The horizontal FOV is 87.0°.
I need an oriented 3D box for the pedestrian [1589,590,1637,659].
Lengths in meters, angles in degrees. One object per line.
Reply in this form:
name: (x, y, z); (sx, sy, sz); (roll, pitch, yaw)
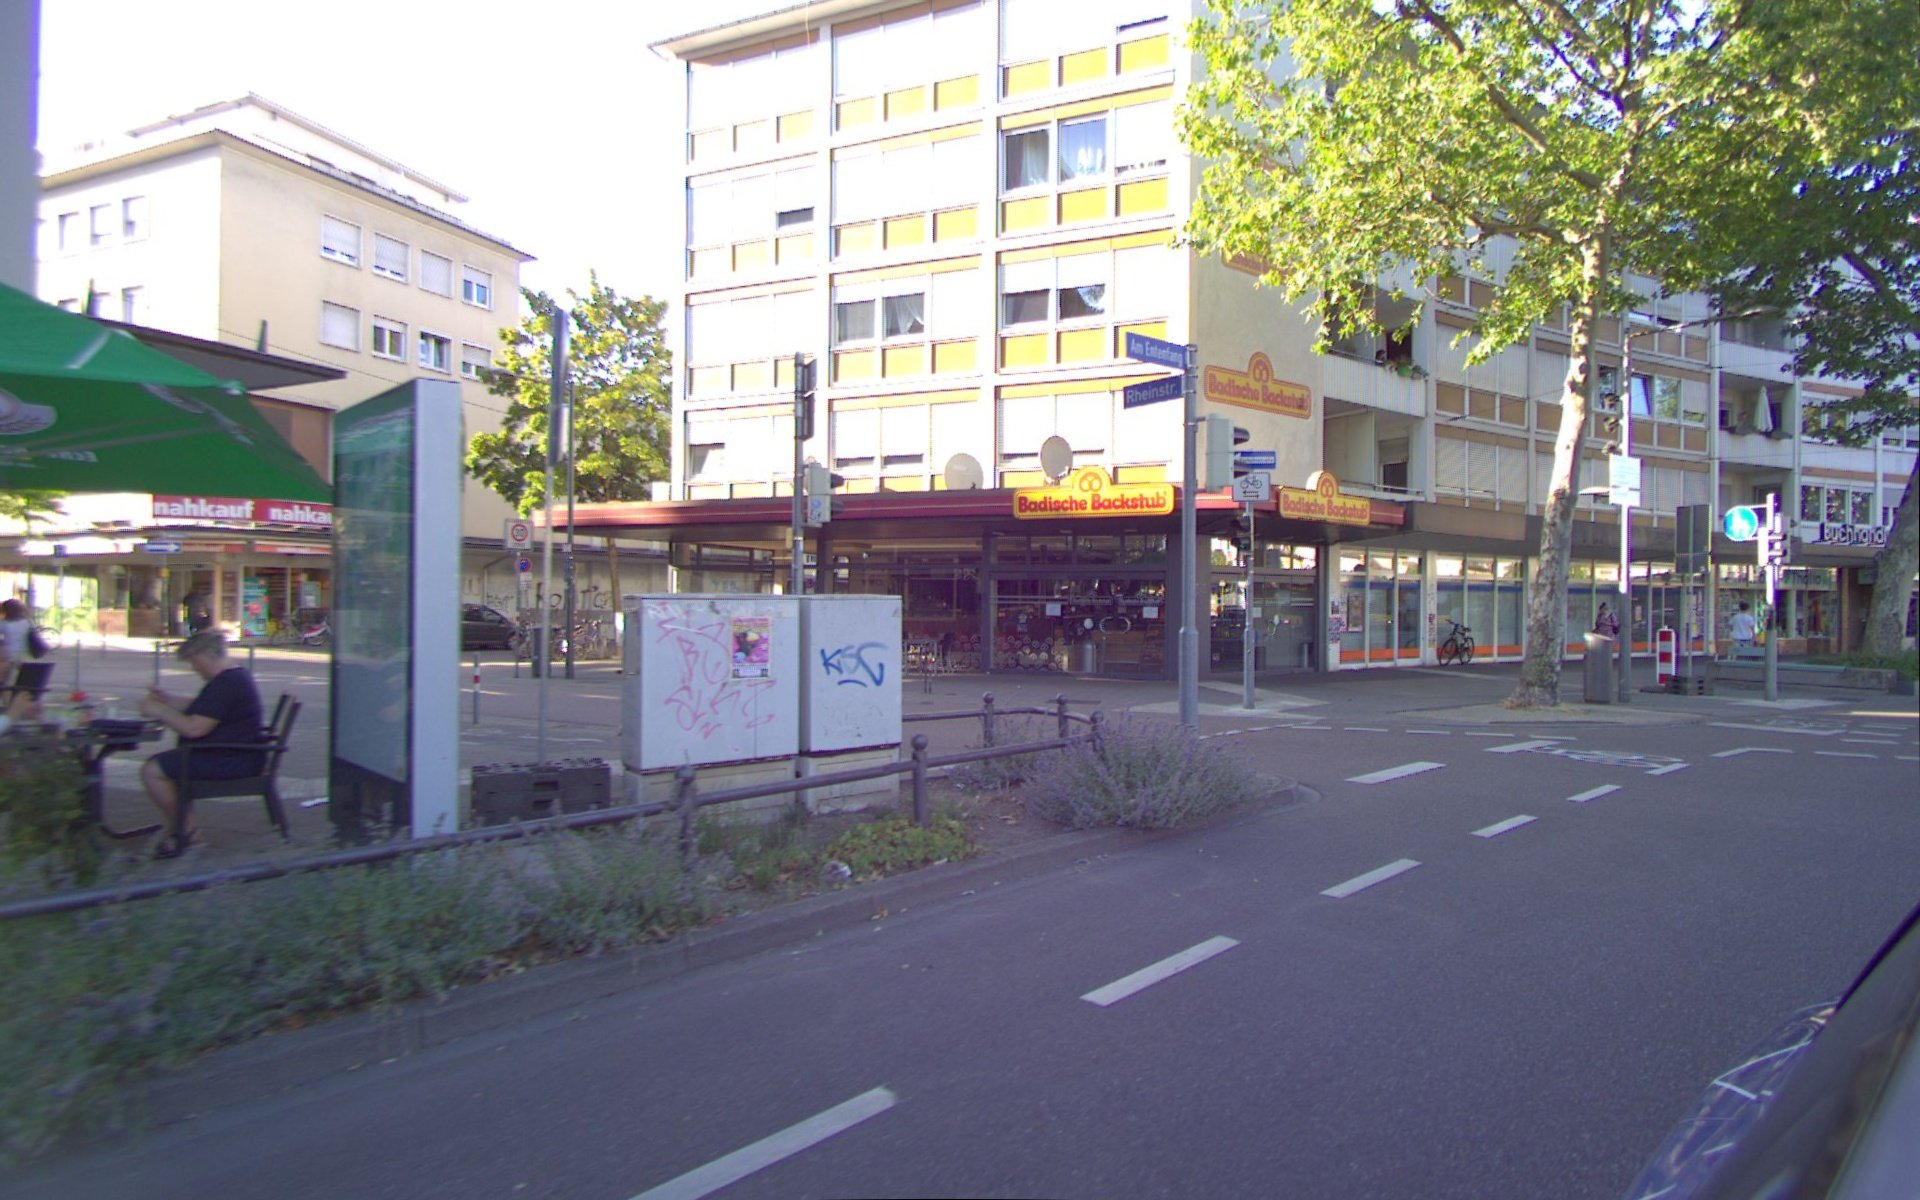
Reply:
pedestrian: (17.164, 0.626, 26.595); (0.884, 1.779, 0.751); (1, -1, -31)

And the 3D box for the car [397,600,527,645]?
car: (-17.623, 0.777, 35.991); (1.720, 1.505, 3.964); (0, 0, 26)

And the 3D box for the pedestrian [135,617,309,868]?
pedestrian: (-4.219, 0.754, 5.827); (0.754, 1.302, 0.719); (1, -1, -35)

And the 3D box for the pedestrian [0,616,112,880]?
pedestrian: (-5.015, 0.741, 5.323); (0.753, 1.302, 0.720); (1, -1, -34)

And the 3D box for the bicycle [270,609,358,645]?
bicycle: (-21.612, 0.881, 33.920); (0.708, 1.131, 2.522); (1, 0, 22)

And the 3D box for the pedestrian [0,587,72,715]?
pedestrian: (-12.588, 0.656, 13.564); (0.898, 1.642, 0.690); (0, -1, 21)

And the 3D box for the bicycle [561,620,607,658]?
bicycle: (-10.480, 1.069, 28.214); (0.383, 1.013, 1.420); (0, 0, 19)

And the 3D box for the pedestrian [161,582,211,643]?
pedestrian: (-24.337, 0.384, 31.829); (0.941, 1.904, 0.898); (0, -1, 26)

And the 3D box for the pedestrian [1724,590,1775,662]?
pedestrian: (20.035, 0.648, 25.681); (0.884, 1.779, 0.751); (1, -1, -31)

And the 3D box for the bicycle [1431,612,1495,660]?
bicycle: (12.465, 0.872, 25.066); (1.936, 1.157, 0.529); (1, -1, -33)

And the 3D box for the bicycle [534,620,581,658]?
bicycle: (-11.313, 1.072, 28.504); (0.383, 1.013, 1.420); (0, 0, 19)

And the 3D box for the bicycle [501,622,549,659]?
bicycle: (-12.409, 1.145, 28.901); (0.383, 1.013, 1.420); (0, 0, 19)
